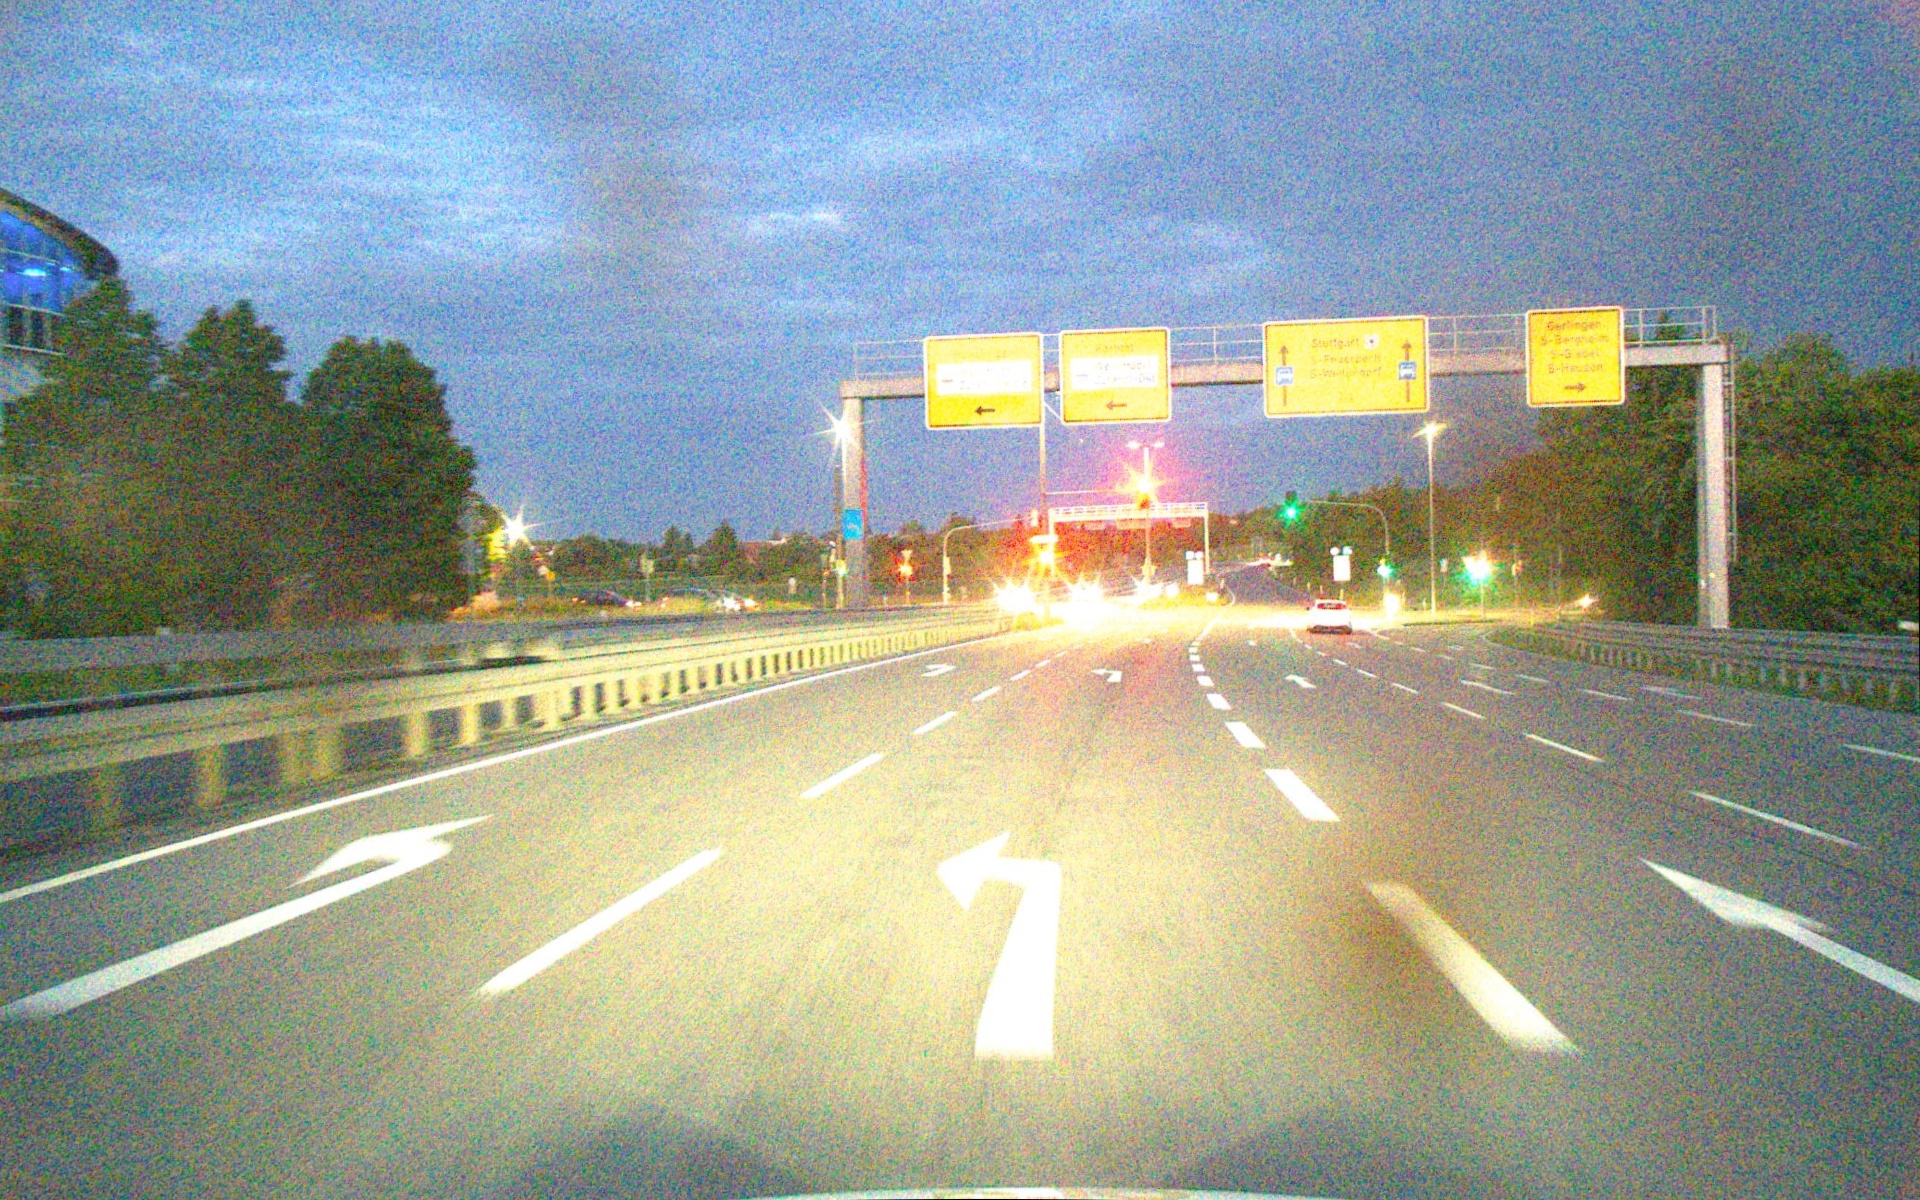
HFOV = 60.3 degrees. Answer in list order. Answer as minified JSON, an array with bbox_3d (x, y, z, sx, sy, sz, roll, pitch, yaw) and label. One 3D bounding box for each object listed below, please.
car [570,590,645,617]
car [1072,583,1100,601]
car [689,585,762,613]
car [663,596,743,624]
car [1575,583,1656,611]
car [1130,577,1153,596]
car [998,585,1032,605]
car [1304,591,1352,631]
[{"bbox_3d":[-20.570,0.209,96.660,3.903,1.499,1.730,-1,0,4],"label":"car"},{"bbox_3d":[10.535,-0.693,138.378,1.951,1.507,4.686,0,1,9],"label":"car"},{"bbox_3d":[-13.983,-0.056,98.823,3.954,1.564,1.731,-1,0,8],"label":"car"},{"bbox_3d":[-14.775,0.581,95.181,4.221,1.564,1.731,-1,0,9],"label":"car"},{"bbox_3d":[38.132,-0.195,96.285,3.986,1.597,2.004,0,1,7],"label":"car"},{"bbox_3d":[17.550,-1.334,159.987,1.951,1.728,4.004,0,1,9],"label":"car"},{"bbox_3d":[4.142,-0.383,124.121,1.951,1.450,4.536,0,1,9],"label":"car"},{"bbox_3d":[15.762,0.435,70.830,1.965,1.639,3.848,1,1,13],"label":"car"}]
